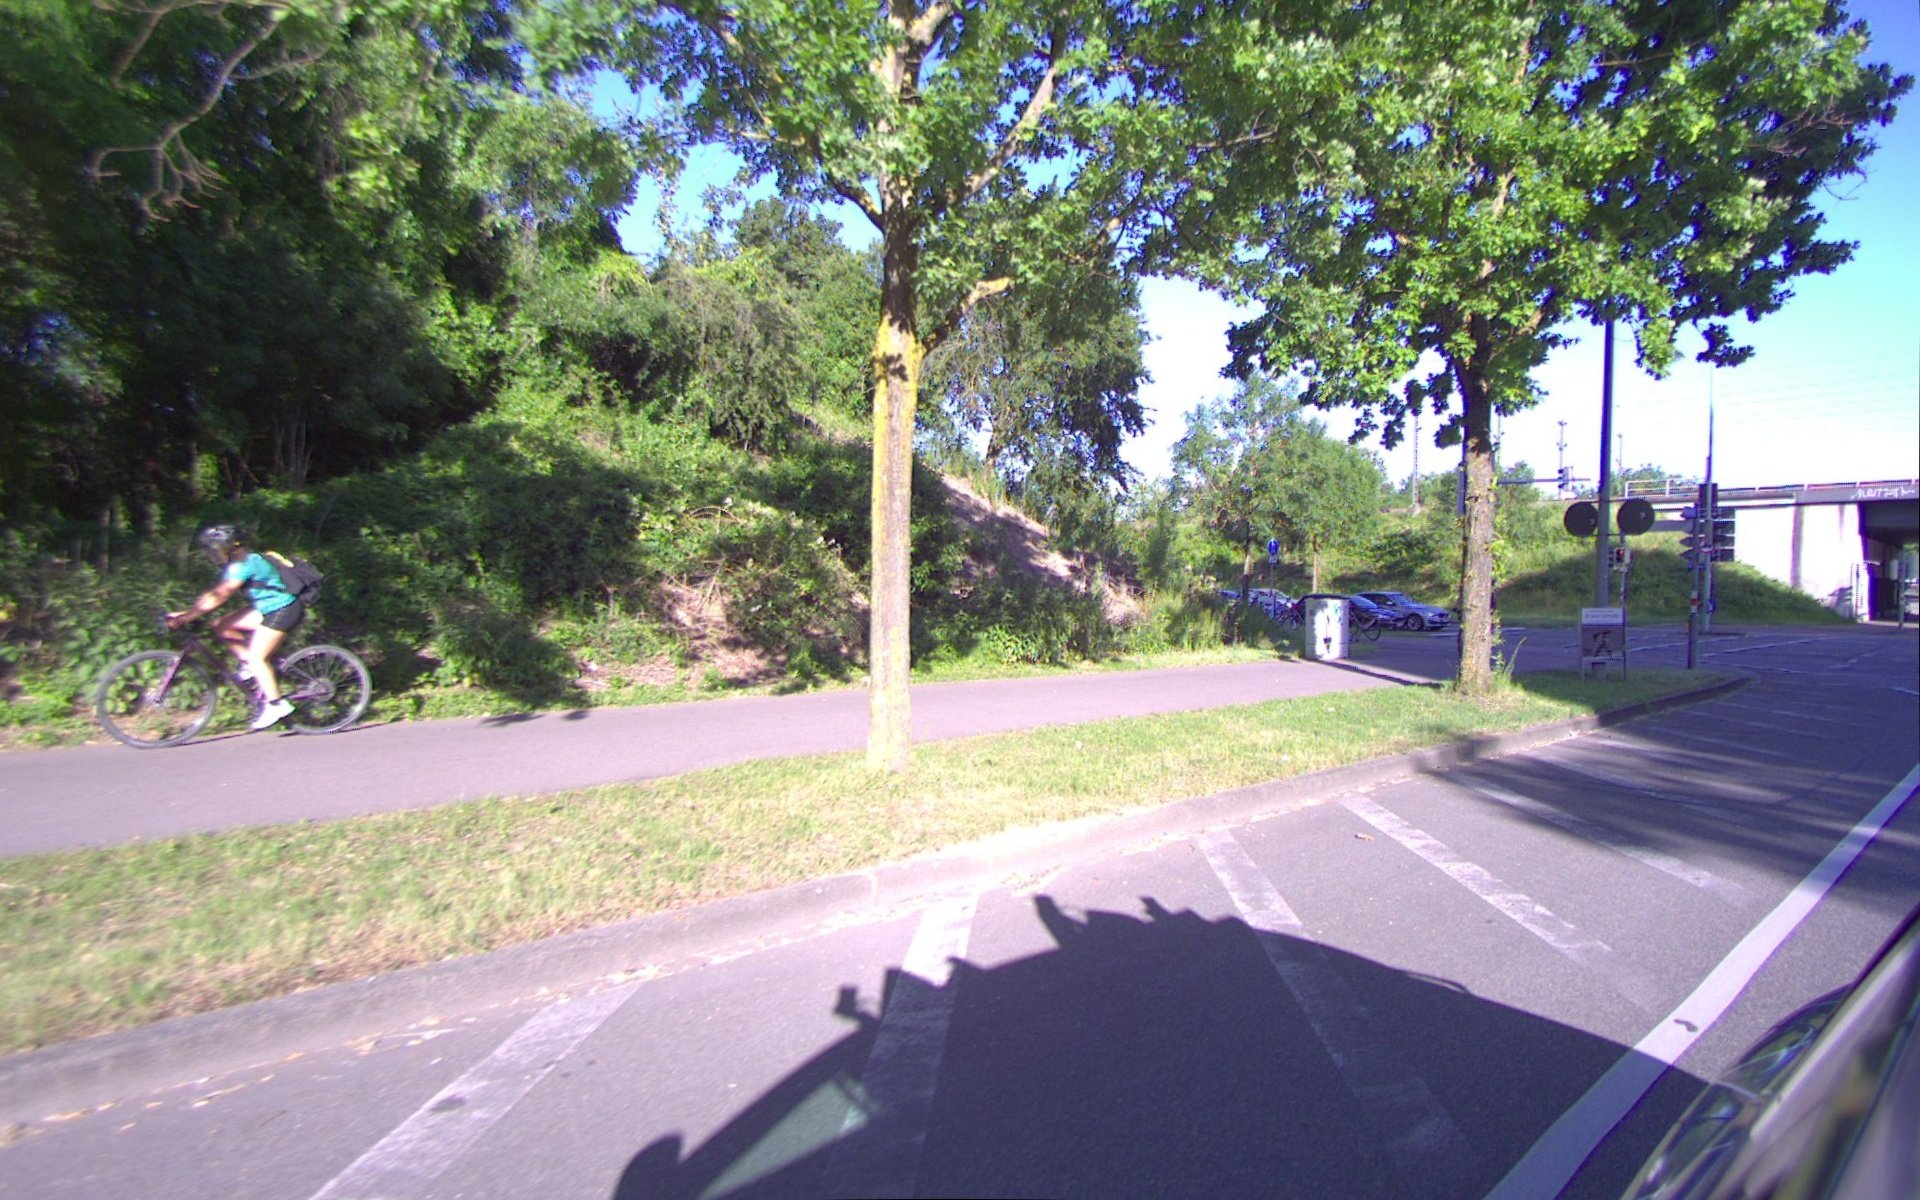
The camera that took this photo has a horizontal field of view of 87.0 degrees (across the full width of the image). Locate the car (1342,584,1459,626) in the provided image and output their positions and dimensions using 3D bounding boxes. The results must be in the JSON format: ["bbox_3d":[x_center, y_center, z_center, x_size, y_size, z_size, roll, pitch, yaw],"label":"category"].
[{"bbox_3d":[17.759,0.150,40.907,1.782,1.493,4.000,-1,2,-35],"label":"car"}]

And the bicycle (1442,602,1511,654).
[{"bbox_3d":[10.763,0.566,21.052,2.011,1.004,0.572,1,1,-42],"label":"bicycle"}]

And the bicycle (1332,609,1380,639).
[{"bbox_3d":[10.043,0.585,25.755,0.830,0.629,2.186,3,2,14],"label":"bicycle"}]

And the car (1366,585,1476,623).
[{"bbox_3d":[19.842,0.127,43.680,1.783,1.450,3.999,-2,3,-36],"label":"car"}]

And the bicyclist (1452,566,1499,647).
[{"bbox_3d":[10.684,0.124,20.966,0.850,1.630,0.566,0,1,-42],"label":"bicyclist"}]

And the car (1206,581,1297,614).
[{"bbox_3d":[13.504,-0.143,47.051,1.468,1.376,3.998,-2,3,-37],"label":"car"}]

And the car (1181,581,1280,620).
[{"bbox_3d":[11.974,-0.003,44.913,1.812,1.548,3.912,-3,3,-42],"label":"car"}]

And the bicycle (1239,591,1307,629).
[{"bbox_3d":[10.179,0.297,33.013,0.685,1.119,2.267,3,0,-26],"label":"bicycle"}]

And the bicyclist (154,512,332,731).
[{"bbox_3d":[-5.475,0.139,7.740,1.019,1.541,0.685,0,1,-44],"label":"bicyclist"}]

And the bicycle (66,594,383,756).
[{"bbox_3d":[-5.533,0.503,7.714,1.904,1.086,0.516,0,1,-45],"label":"bicycle"}]

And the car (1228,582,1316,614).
[{"bbox_3d":[15.295,-0.133,49.836,1.561,1.450,3.998,-2,3,-37],"label":"car"}]

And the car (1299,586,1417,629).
[{"bbox_3d":[15.563,0.245,39.719,1.772,1.493,3.999,-2,3,-36],"label":"car"}]

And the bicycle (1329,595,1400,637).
[{"bbox_3d":[11.173,0.430,28.026,0.445,1.066,1.999,0,1,-28],"label":"bicycle"}]
